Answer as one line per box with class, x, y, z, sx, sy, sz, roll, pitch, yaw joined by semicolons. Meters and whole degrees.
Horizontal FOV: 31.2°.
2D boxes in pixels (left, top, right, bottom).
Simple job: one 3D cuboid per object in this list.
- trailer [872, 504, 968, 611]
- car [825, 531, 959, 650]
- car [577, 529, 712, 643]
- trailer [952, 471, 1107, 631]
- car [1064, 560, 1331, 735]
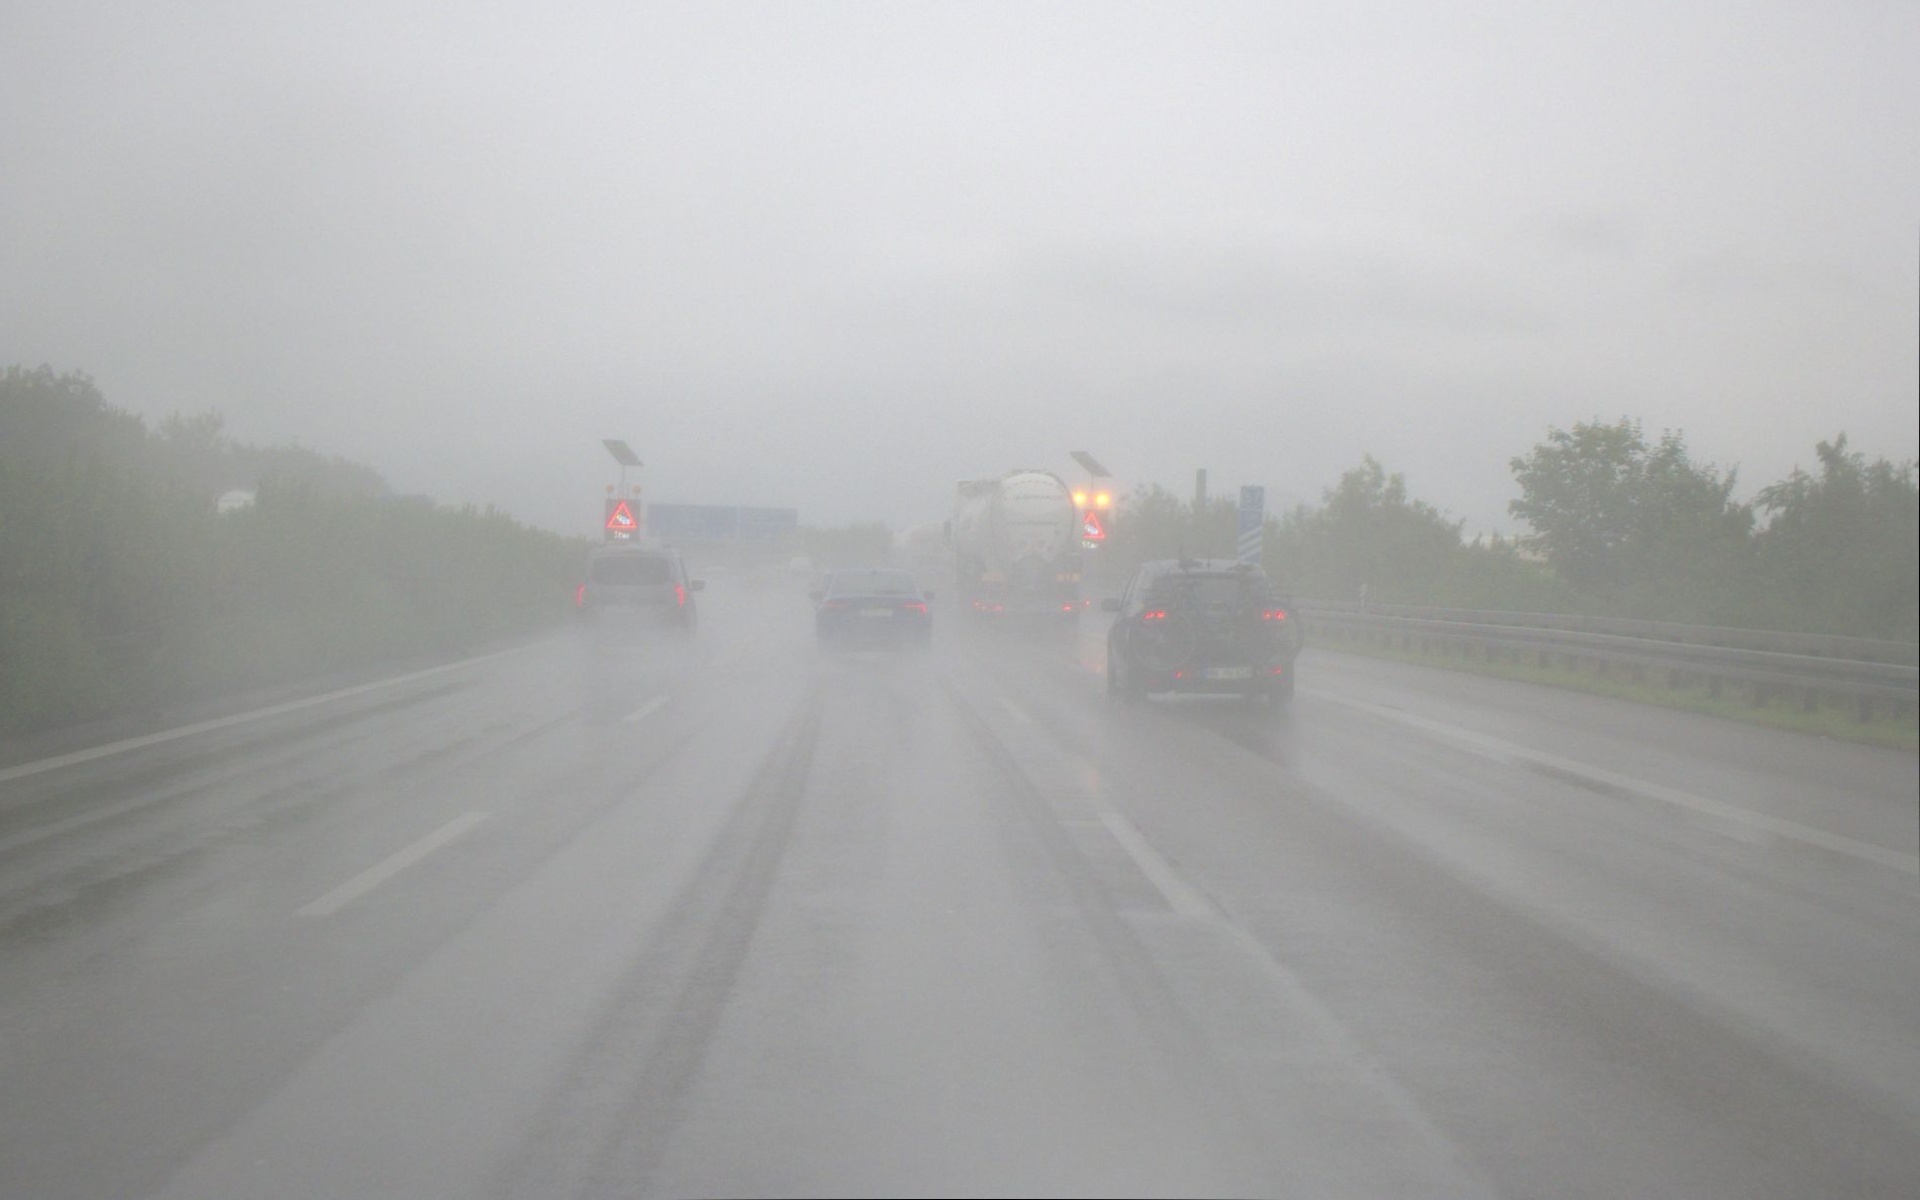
trailer;-1.564;-1.612;129.589;3.004;3.834;8.625;1;1;-5
car;-1.102;-0.181;53.463;1.978;1.750;4.482;1;1;-2
car;-5.059;-0.250;55.562;1.925;1.735;4.404;1;1;-2
trailer;1.592;-1.211;84.952;3.188;3.657;11.667;0;1;-2
car;2.502;0.447;37.875;2.457;1.740;5.719;1;1;-1
